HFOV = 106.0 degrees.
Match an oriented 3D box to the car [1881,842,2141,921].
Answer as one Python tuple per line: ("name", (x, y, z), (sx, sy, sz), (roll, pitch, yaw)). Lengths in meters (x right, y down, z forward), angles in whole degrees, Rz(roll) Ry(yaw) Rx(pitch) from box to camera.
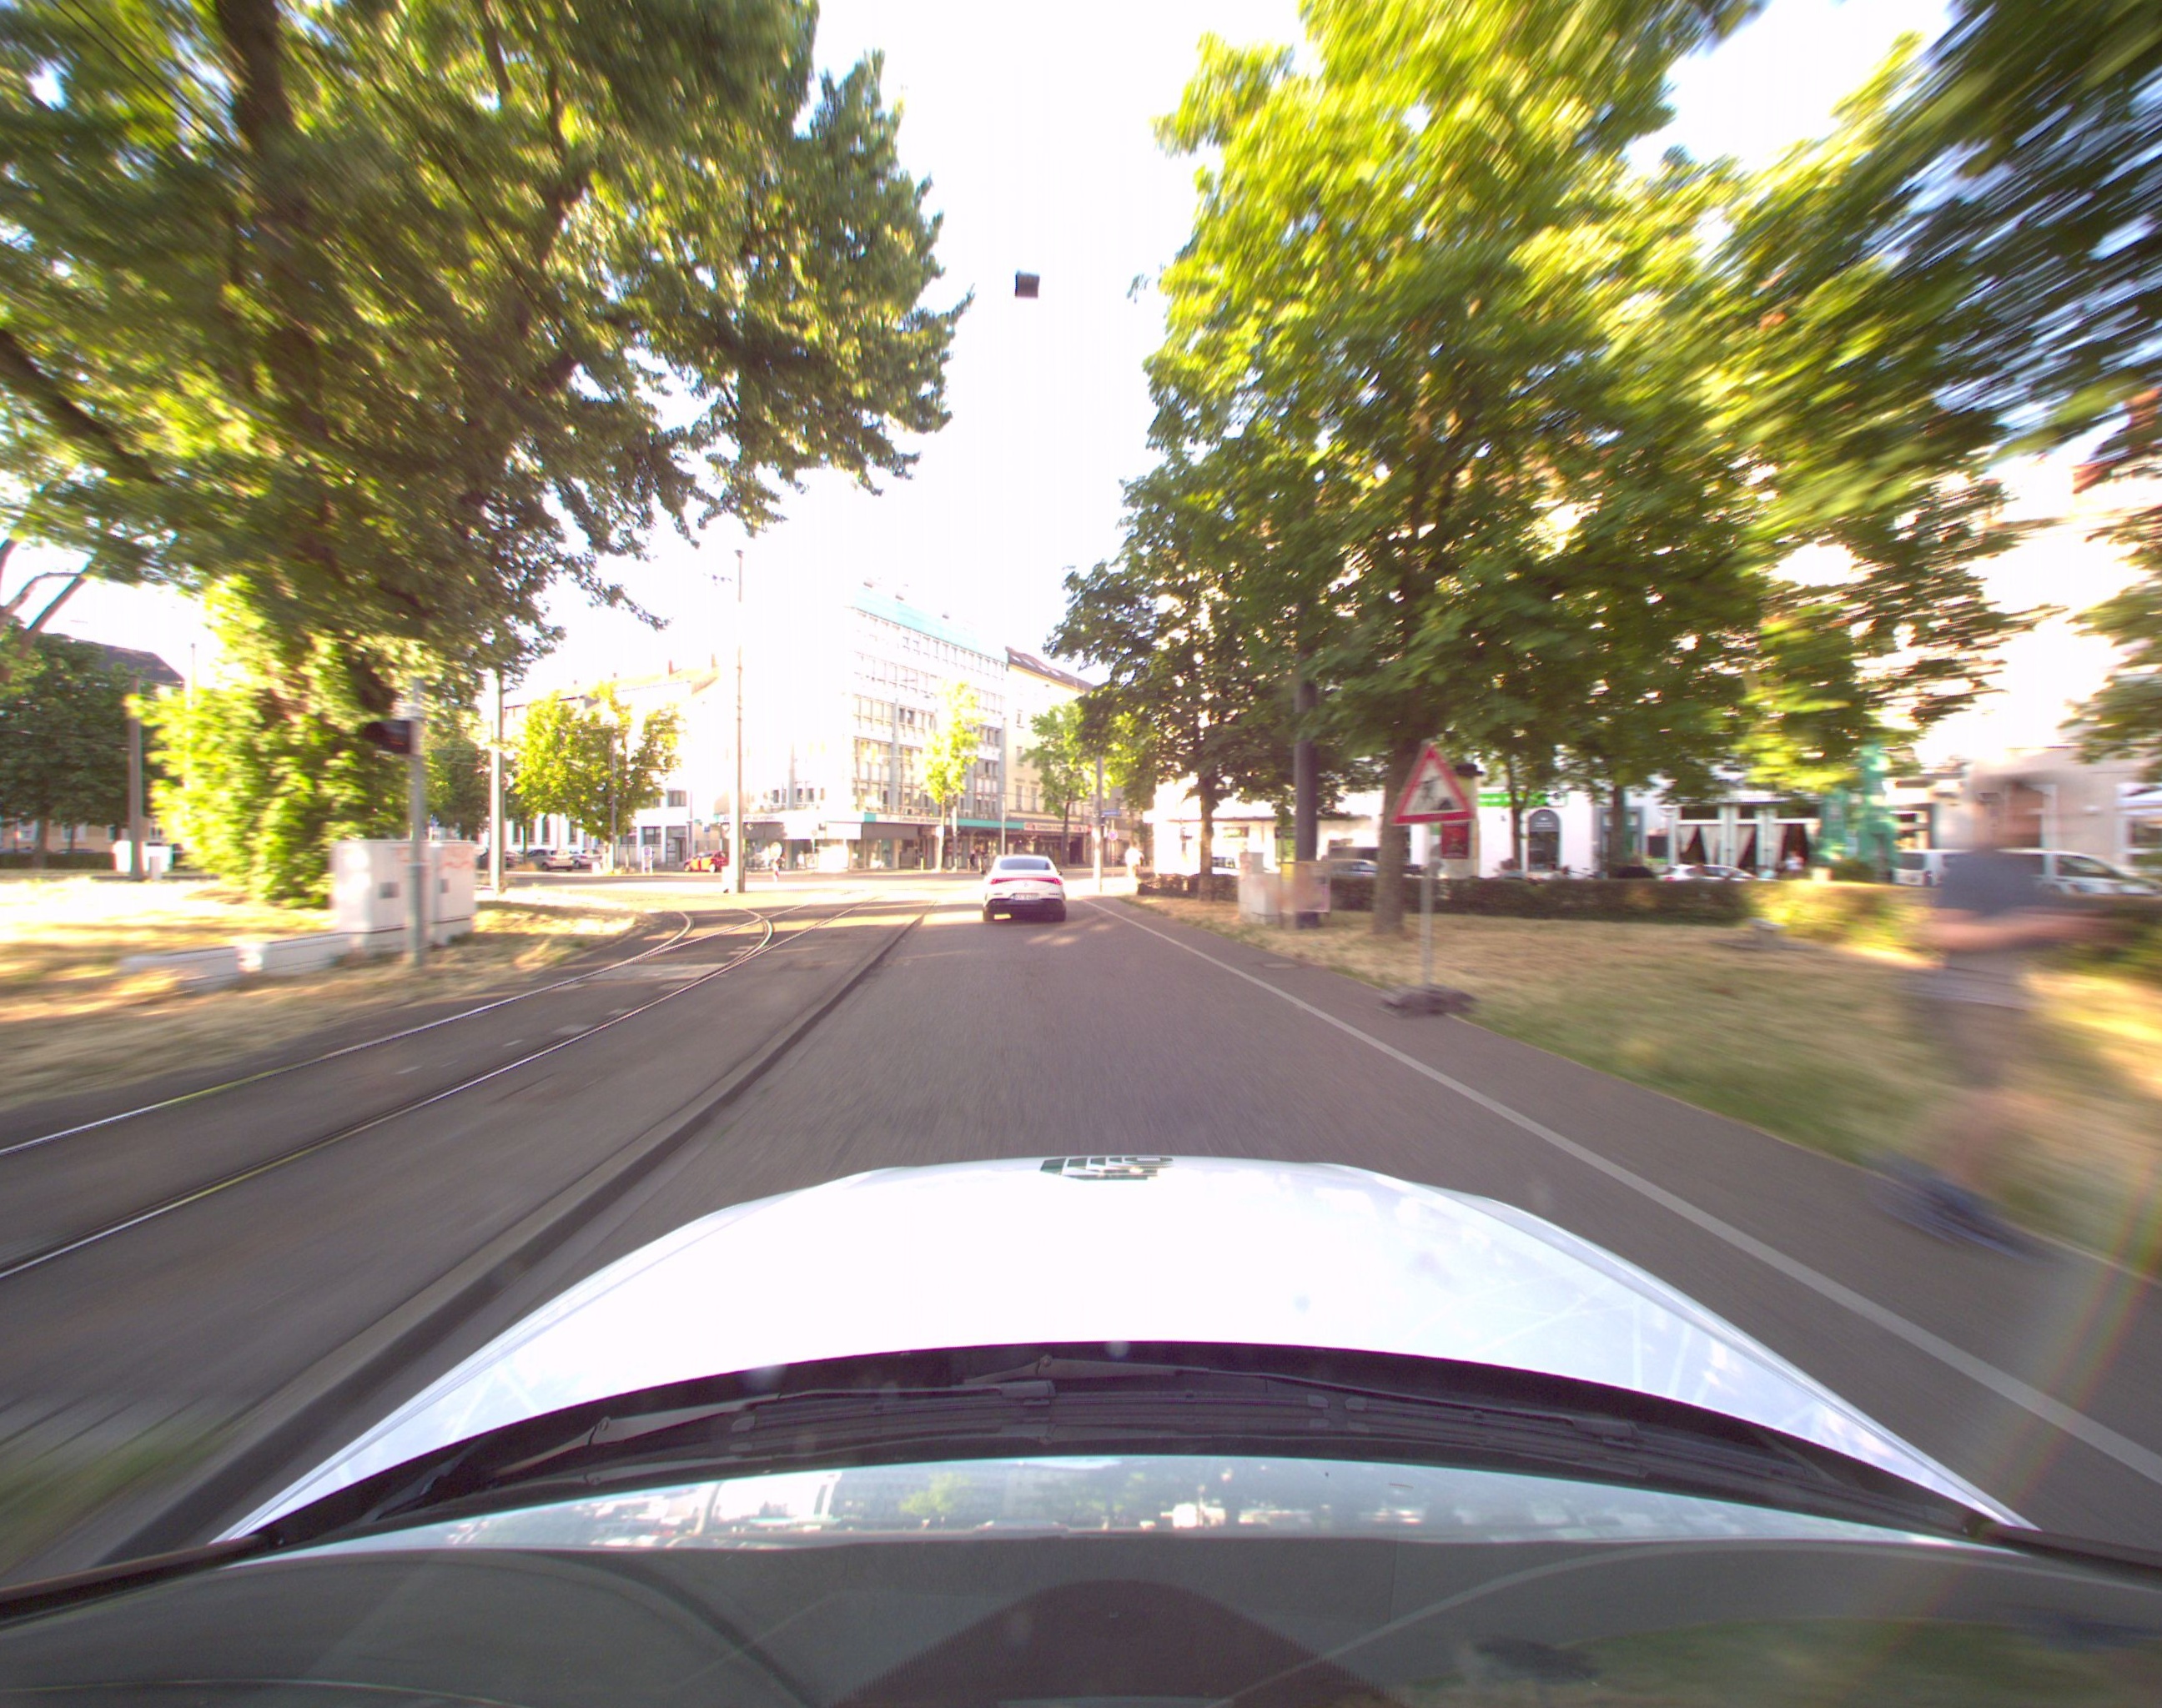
("car", (25.830, 0.707, 22.882), (4.380, 2.013, 2.012), (1, 0, 29))

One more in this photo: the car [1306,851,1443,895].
("car", (10.971, 0.665, 30.523), (4.615, 1.514, 1.749), (0, 0, 27))

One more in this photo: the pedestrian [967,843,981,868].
("pedestrian", (-8.702, 0.121, 66.391), (0.789, 2.014, 0.738), (1, 0, 29))

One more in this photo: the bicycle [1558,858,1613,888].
("bicycle", (21.634, 0.808, 34.937), (1.963, 1.245, 0.691), (0, 0, 28))

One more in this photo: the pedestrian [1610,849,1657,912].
("pedestrian", (12.192, 0.569, 17.963), (0.722, 1.356, 1.021), (-1, -1, 41))

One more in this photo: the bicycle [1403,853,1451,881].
("bicycle", (16.019, 0.580, 37.727), (1.963, 1.245, 0.691), (0, 0, 28))

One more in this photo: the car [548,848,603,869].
("car", (-38.601, 0.364, 62.187), (3.949, 1.530, 2.012), (1, 0, 31))

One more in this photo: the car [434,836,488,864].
("car", (-46.487, -0.328, 61.036), (3.948, 2.013, 2.013), (1, 0, 33))

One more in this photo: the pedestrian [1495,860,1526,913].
("pedestrian", (10.236, 0.763, 19.393), (0.561, 1.244, 0.616), (0, -1, 38))

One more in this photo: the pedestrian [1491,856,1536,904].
("pedestrian", (12.028, 0.710, 22.662), (0.941, 1.242, 0.666), (5, 1, 20))

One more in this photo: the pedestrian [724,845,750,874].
("pedestrian", (-20.571, 0.341, 48.697), (1.169, 1.702, 0.896), (1, -1, -45))

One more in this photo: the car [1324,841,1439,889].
("car", (13.046, 0.449, 35.358), (4.455, 1.963, 2.035), (0, 0, 27))

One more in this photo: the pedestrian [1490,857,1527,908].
("pedestrian", (10.768, 0.705, 20.545), (0.770, 1.243, 0.994), (1, 0, 24))

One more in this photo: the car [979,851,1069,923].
("car", (-1.304, 0.678, 18.932), (1.864, 1.469, 4.037), (0, 0, -4))

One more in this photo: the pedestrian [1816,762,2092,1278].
("pedestrian", (3.328, 0.554, 3.174), (0.635, 1.743, 0.592), (1, 1, 38))

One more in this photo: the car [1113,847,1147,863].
("car", (5.224, 0.111, 86.409), (1.943, 1.640, 4.025), (1, 0, 29))

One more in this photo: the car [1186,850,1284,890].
("car", (6.244, 0.617, 33.055), (3.532, 1.514, 1.749), (0, 0, 27))

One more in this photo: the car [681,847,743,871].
("car", (-25.040, 0.317, 55.189), (3.948, 1.485, 2.040), (1, 0, 34))

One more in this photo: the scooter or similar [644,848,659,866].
("scooter or similar", (-33.970, 0.204, 64.430), (0.759, 1.398, 1.906), (1, 0, -37))

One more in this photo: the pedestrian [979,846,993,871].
("pedestrian", (-7.729, 0.354, 66.076), (0.789, 2.014, 0.738), (1, 0, 29))

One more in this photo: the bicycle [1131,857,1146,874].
("bicycle", (3.582, 0.720, 50.762), (0.351, 1.076, 1.709), (1, 0, 25))

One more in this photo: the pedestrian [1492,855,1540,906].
("pedestrian", (11.697, 0.695, 21.923), (0.941, 1.283, 0.666), (5, 1, 20))

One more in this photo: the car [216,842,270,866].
("car", (-73.782, 0.007, 71.714), (3.952, 2.013, 2.011), (0, 0, 23))

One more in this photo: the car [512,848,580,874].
("car", (-36.997, 0.479, 56.358), (3.952, 1.684, 2.011), (0, 0, 23))

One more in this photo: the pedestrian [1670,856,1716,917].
("pedestrian", (13.332, 0.705, 17.739), (0.655, 1.242, 0.957), (6, 2, 41))

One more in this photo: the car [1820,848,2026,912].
("car", (28.344, 0.818, 27.651), (4.455, 1.963, 2.035), (1, 0, 27))

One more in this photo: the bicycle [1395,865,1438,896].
("bicycle", (10.128, 0.787, 24.582), (1.537, 0.929, 0.549), (1, 0, -40))

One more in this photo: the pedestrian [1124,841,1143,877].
("pedestrian", (2.988, 0.269, 46.156), (0.833, 2.014, 0.851), (1, 0, 22))

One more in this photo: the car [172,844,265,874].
("car", (-60.156, 0.336, 56.898), (1.982, 2.013, 4.010), (1, 0, 9))

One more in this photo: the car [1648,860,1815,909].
("car", (23.654, 1.070, 29.858), (4.455, 1.617, 2.035), (1, 0, 27))
